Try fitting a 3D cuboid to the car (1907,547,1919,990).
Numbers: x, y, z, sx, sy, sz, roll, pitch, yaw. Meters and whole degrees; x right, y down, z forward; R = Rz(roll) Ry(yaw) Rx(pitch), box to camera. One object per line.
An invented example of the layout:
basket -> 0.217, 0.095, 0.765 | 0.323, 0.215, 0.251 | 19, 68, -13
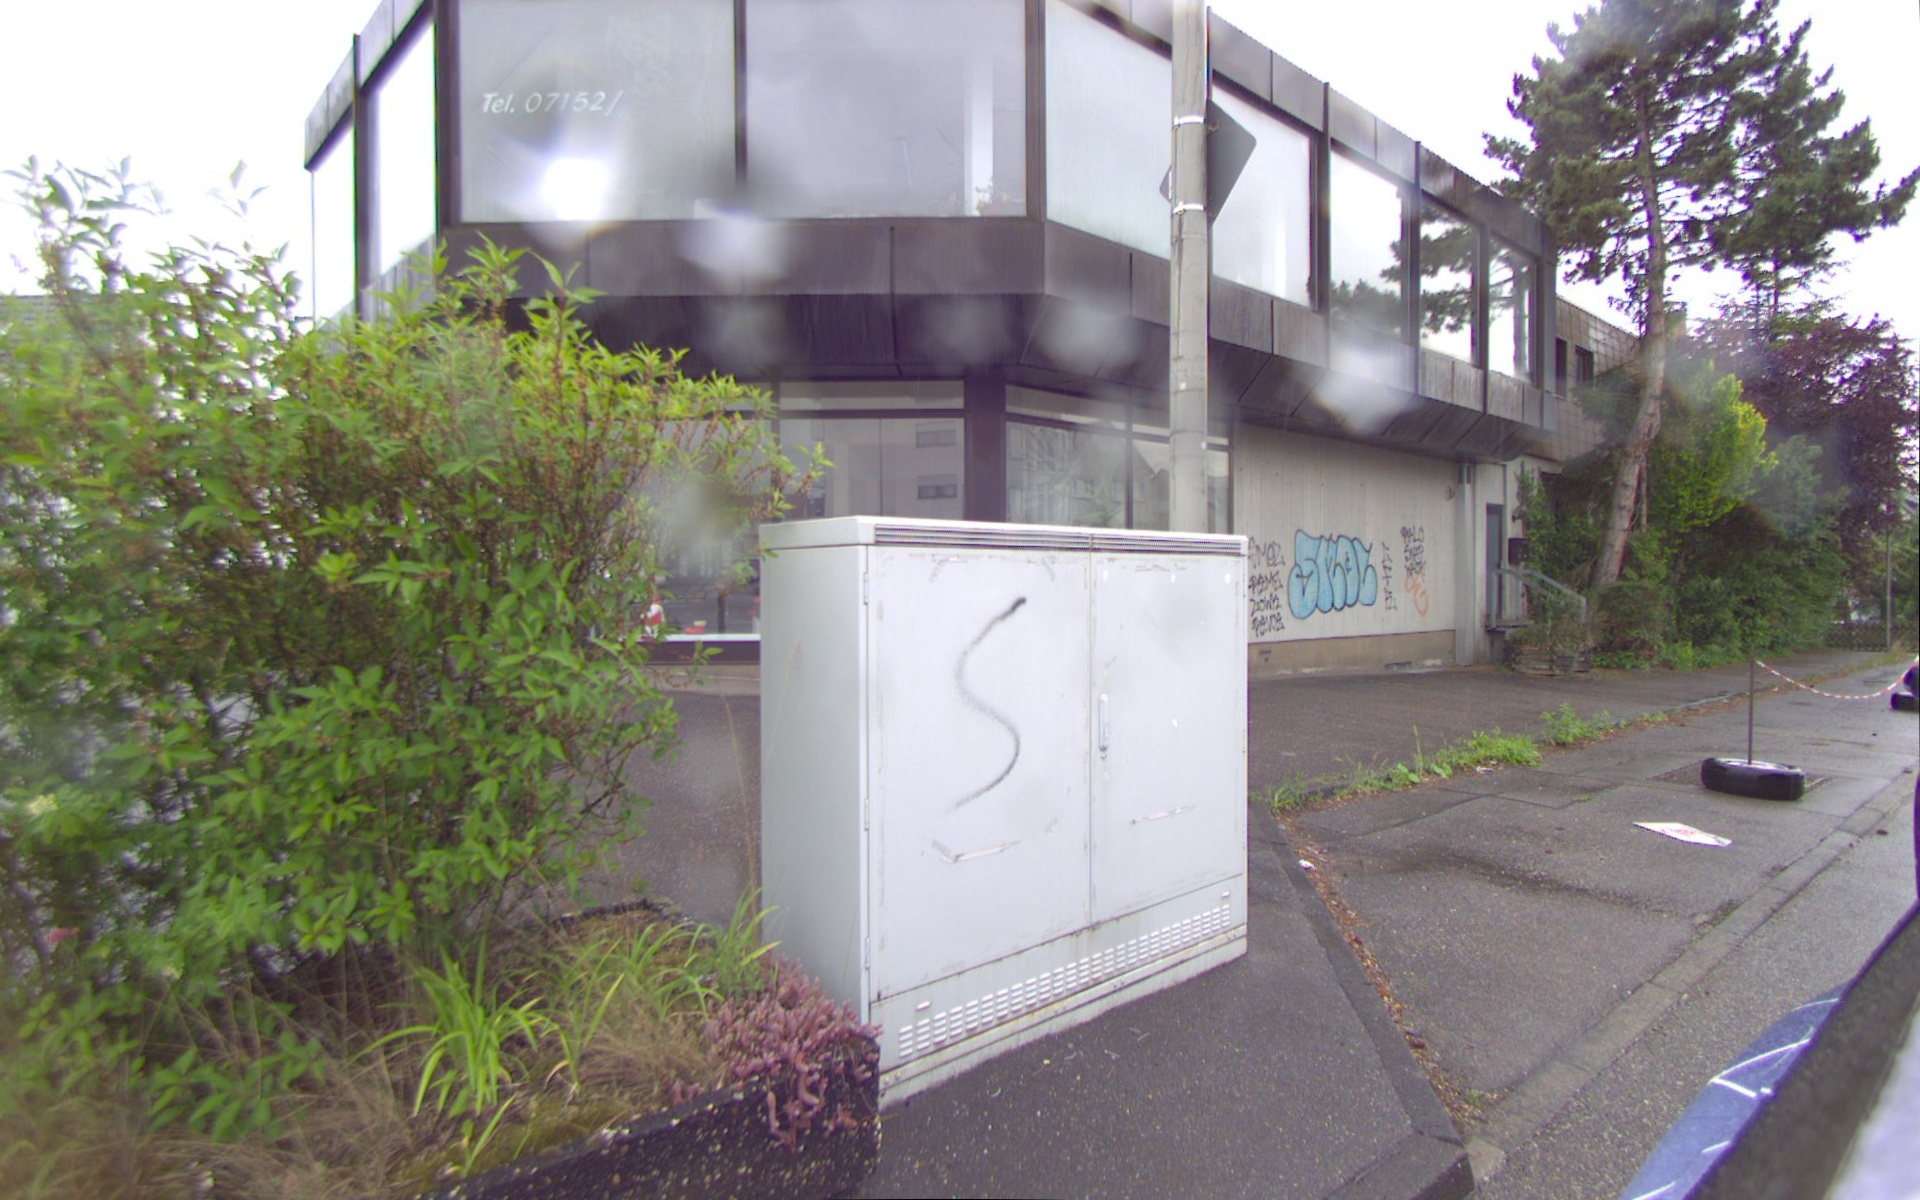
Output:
car -> 5.668, 0.589, 4.425 | 4.595, 1.562, 1.753 | -1, 1, -41
